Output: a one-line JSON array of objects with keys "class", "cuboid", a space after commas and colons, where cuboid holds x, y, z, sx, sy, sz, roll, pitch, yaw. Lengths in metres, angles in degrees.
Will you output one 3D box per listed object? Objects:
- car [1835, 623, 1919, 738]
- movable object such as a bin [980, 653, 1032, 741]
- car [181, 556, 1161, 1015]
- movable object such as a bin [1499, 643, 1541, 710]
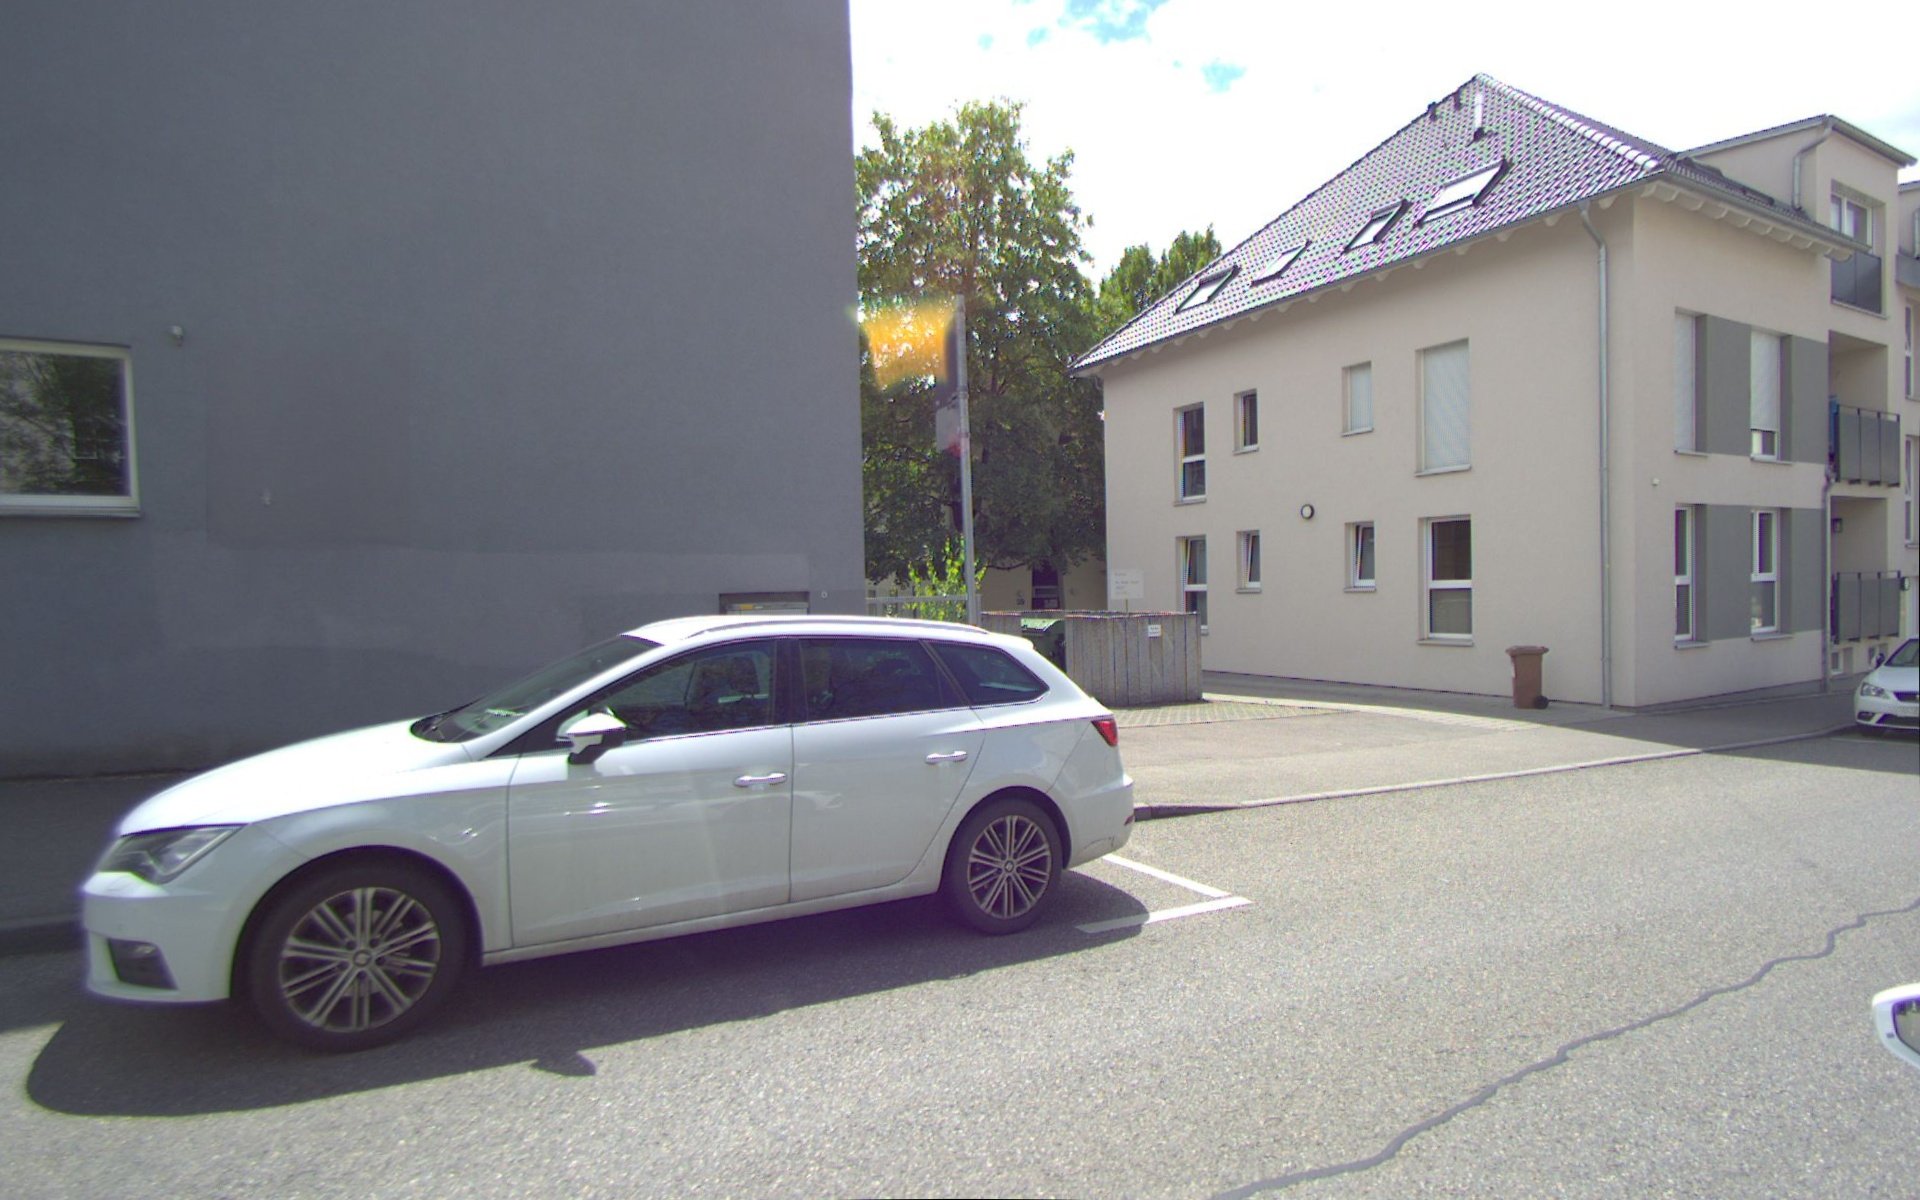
[{"class": "car", "cuboid": [13.824, 1.061, 13.815, 3.655, 1.438, 1.639, 1, 1, -31]}, {"class": "movable object such as a bin", "cuboid": [0.514, 1.066, 11.169, 0.395, 0.941, 0.452, 1, -1, -31]}, {"class": "car", "cuboid": [-1.096, 0.629, 4.756, 3.819, 1.409, 1.690, 2, 0, -29]}, {"class": "movable object such as a bin", "cuboid": [8.448, 1.141, 15.145, 0.387, 0.966, 0.411, 1, 0, -33]}]
